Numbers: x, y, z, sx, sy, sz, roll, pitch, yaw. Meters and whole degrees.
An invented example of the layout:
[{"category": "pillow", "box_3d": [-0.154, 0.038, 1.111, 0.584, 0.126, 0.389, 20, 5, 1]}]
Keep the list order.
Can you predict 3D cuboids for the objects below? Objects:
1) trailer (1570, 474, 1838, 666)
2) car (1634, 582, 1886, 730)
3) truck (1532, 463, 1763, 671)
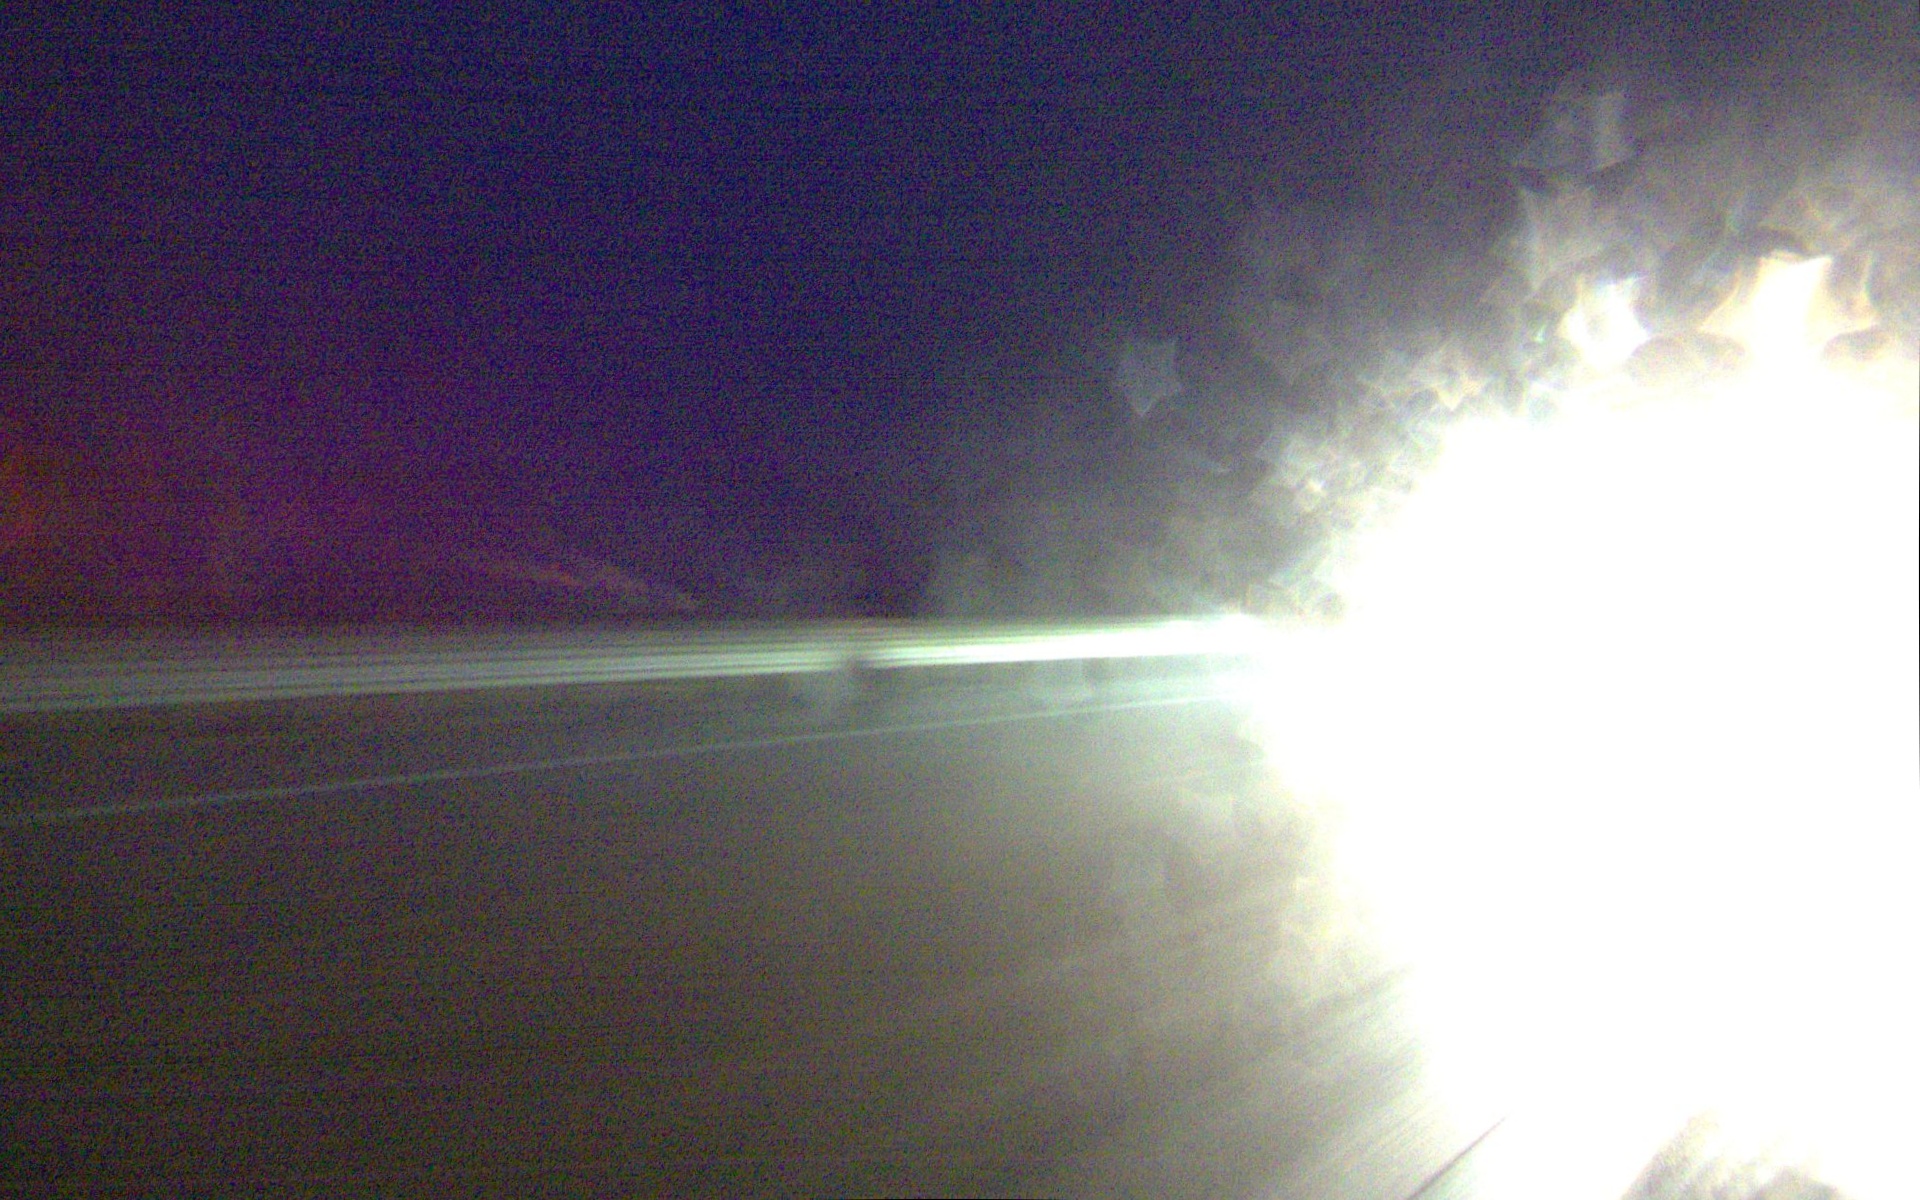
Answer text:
[{"category": "trailer", "box_3d": [20.832, -0.640, 27.685, 14.235, 4.159, 2.908, 1, 2, -42]}, {"category": "car", "box_3d": [10.473, 0.607, 13.128, 4.414, 1.595, 1.744, 0, 1, -41]}, {"category": "truck", "box_3d": [15.921, -0.698, 23.301, 5.926, 4.159, 2.909, 1, 2, -42]}]
